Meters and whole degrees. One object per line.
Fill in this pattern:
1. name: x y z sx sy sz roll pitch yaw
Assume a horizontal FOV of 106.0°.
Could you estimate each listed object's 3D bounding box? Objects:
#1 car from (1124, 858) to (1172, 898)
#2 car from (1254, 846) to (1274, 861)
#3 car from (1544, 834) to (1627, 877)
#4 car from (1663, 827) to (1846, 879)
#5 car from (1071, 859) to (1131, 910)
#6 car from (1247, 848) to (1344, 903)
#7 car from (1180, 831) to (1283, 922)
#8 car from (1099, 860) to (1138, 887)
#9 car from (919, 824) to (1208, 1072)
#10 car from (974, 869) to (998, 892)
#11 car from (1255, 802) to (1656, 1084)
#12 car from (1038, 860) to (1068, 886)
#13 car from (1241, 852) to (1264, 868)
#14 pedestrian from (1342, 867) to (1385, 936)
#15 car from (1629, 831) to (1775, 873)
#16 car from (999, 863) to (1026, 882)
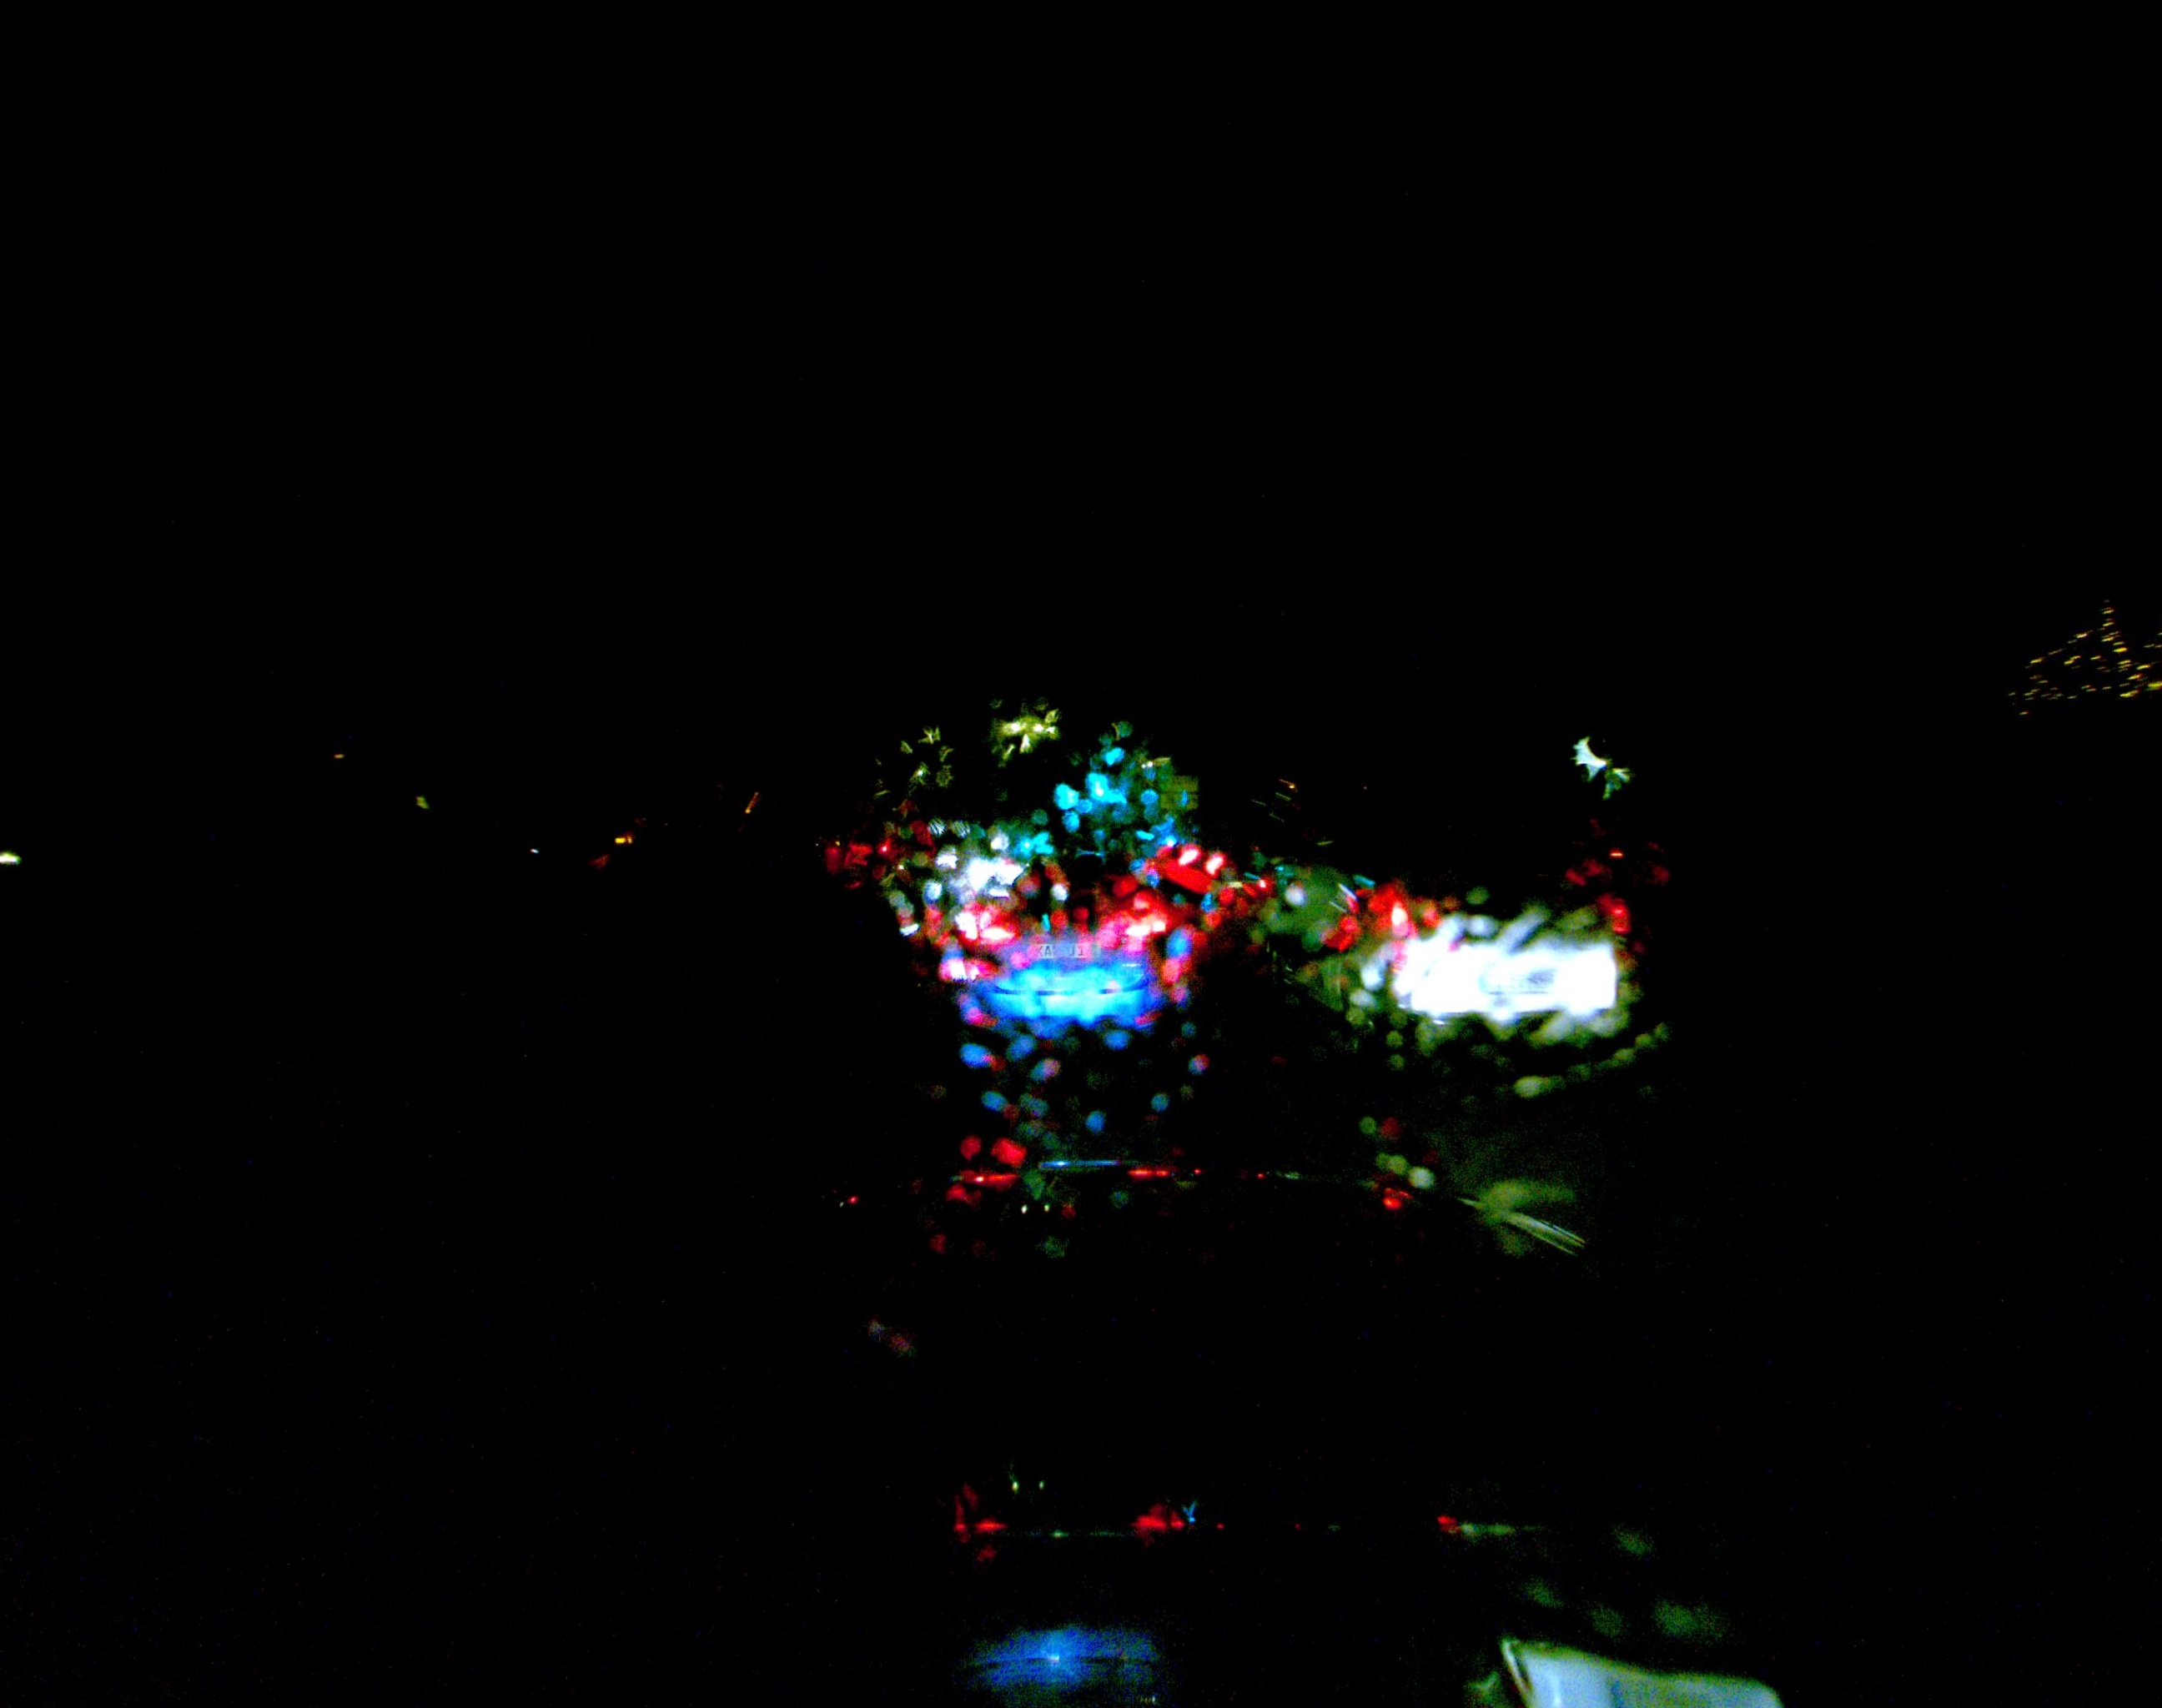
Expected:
1. car: 3.005 1.062 37.109 1.986 1.718 4.001 0 -1 2
2. car: 25.025 -0.067 111.510 1.986 2.014 4.001 0 -1 1
3. car: 18.503 0.085 30.084 1.706 1.483 4.730 0 -1 20
4. car: 20.268 -0.020 24.711 3.901 1.487 1.773 0 -1 20
5. car: 0.725 1.023 28.849 1.986 1.684 4.001 0 -1 2
6. car: 6.262 0.596 24.270 1.779 1.442 4.237 -2 0 0
7. car: 3.628 0.542 20.315 1.961 2.047 4.001 0 -1 2
8. car: 2.304 1.203 51.171 1.990 1.670 3.993 0 -1 -5
9. car: -0.127 0.679 7.897 2.008 1.717 4.450 0 -1 0
10. car: -8.981 2.467 76.854 2.015 1.887 4.437 1 1 -10
11. car: 2.946 0.619 7.583 1.845 1.865 4.342 0 -1 2
12. car: -2.100 1.378 60.132 1.990 1.824 3.993 0 -1 -5
13. car: 19.064 0.671 90.580 1.857 1.646 3.965 -3 -1 2
14. pedestrian: 7.131 1.169 20.574 0.870 1.702 0.613 1 -1 -31
15. car: 22.628 -0.046 29.867 3.950 1.430 1.855 0 -1 26
16. car: -6.724 1.804 79.337 1.997 1.824 3.980 0 -1 -14
